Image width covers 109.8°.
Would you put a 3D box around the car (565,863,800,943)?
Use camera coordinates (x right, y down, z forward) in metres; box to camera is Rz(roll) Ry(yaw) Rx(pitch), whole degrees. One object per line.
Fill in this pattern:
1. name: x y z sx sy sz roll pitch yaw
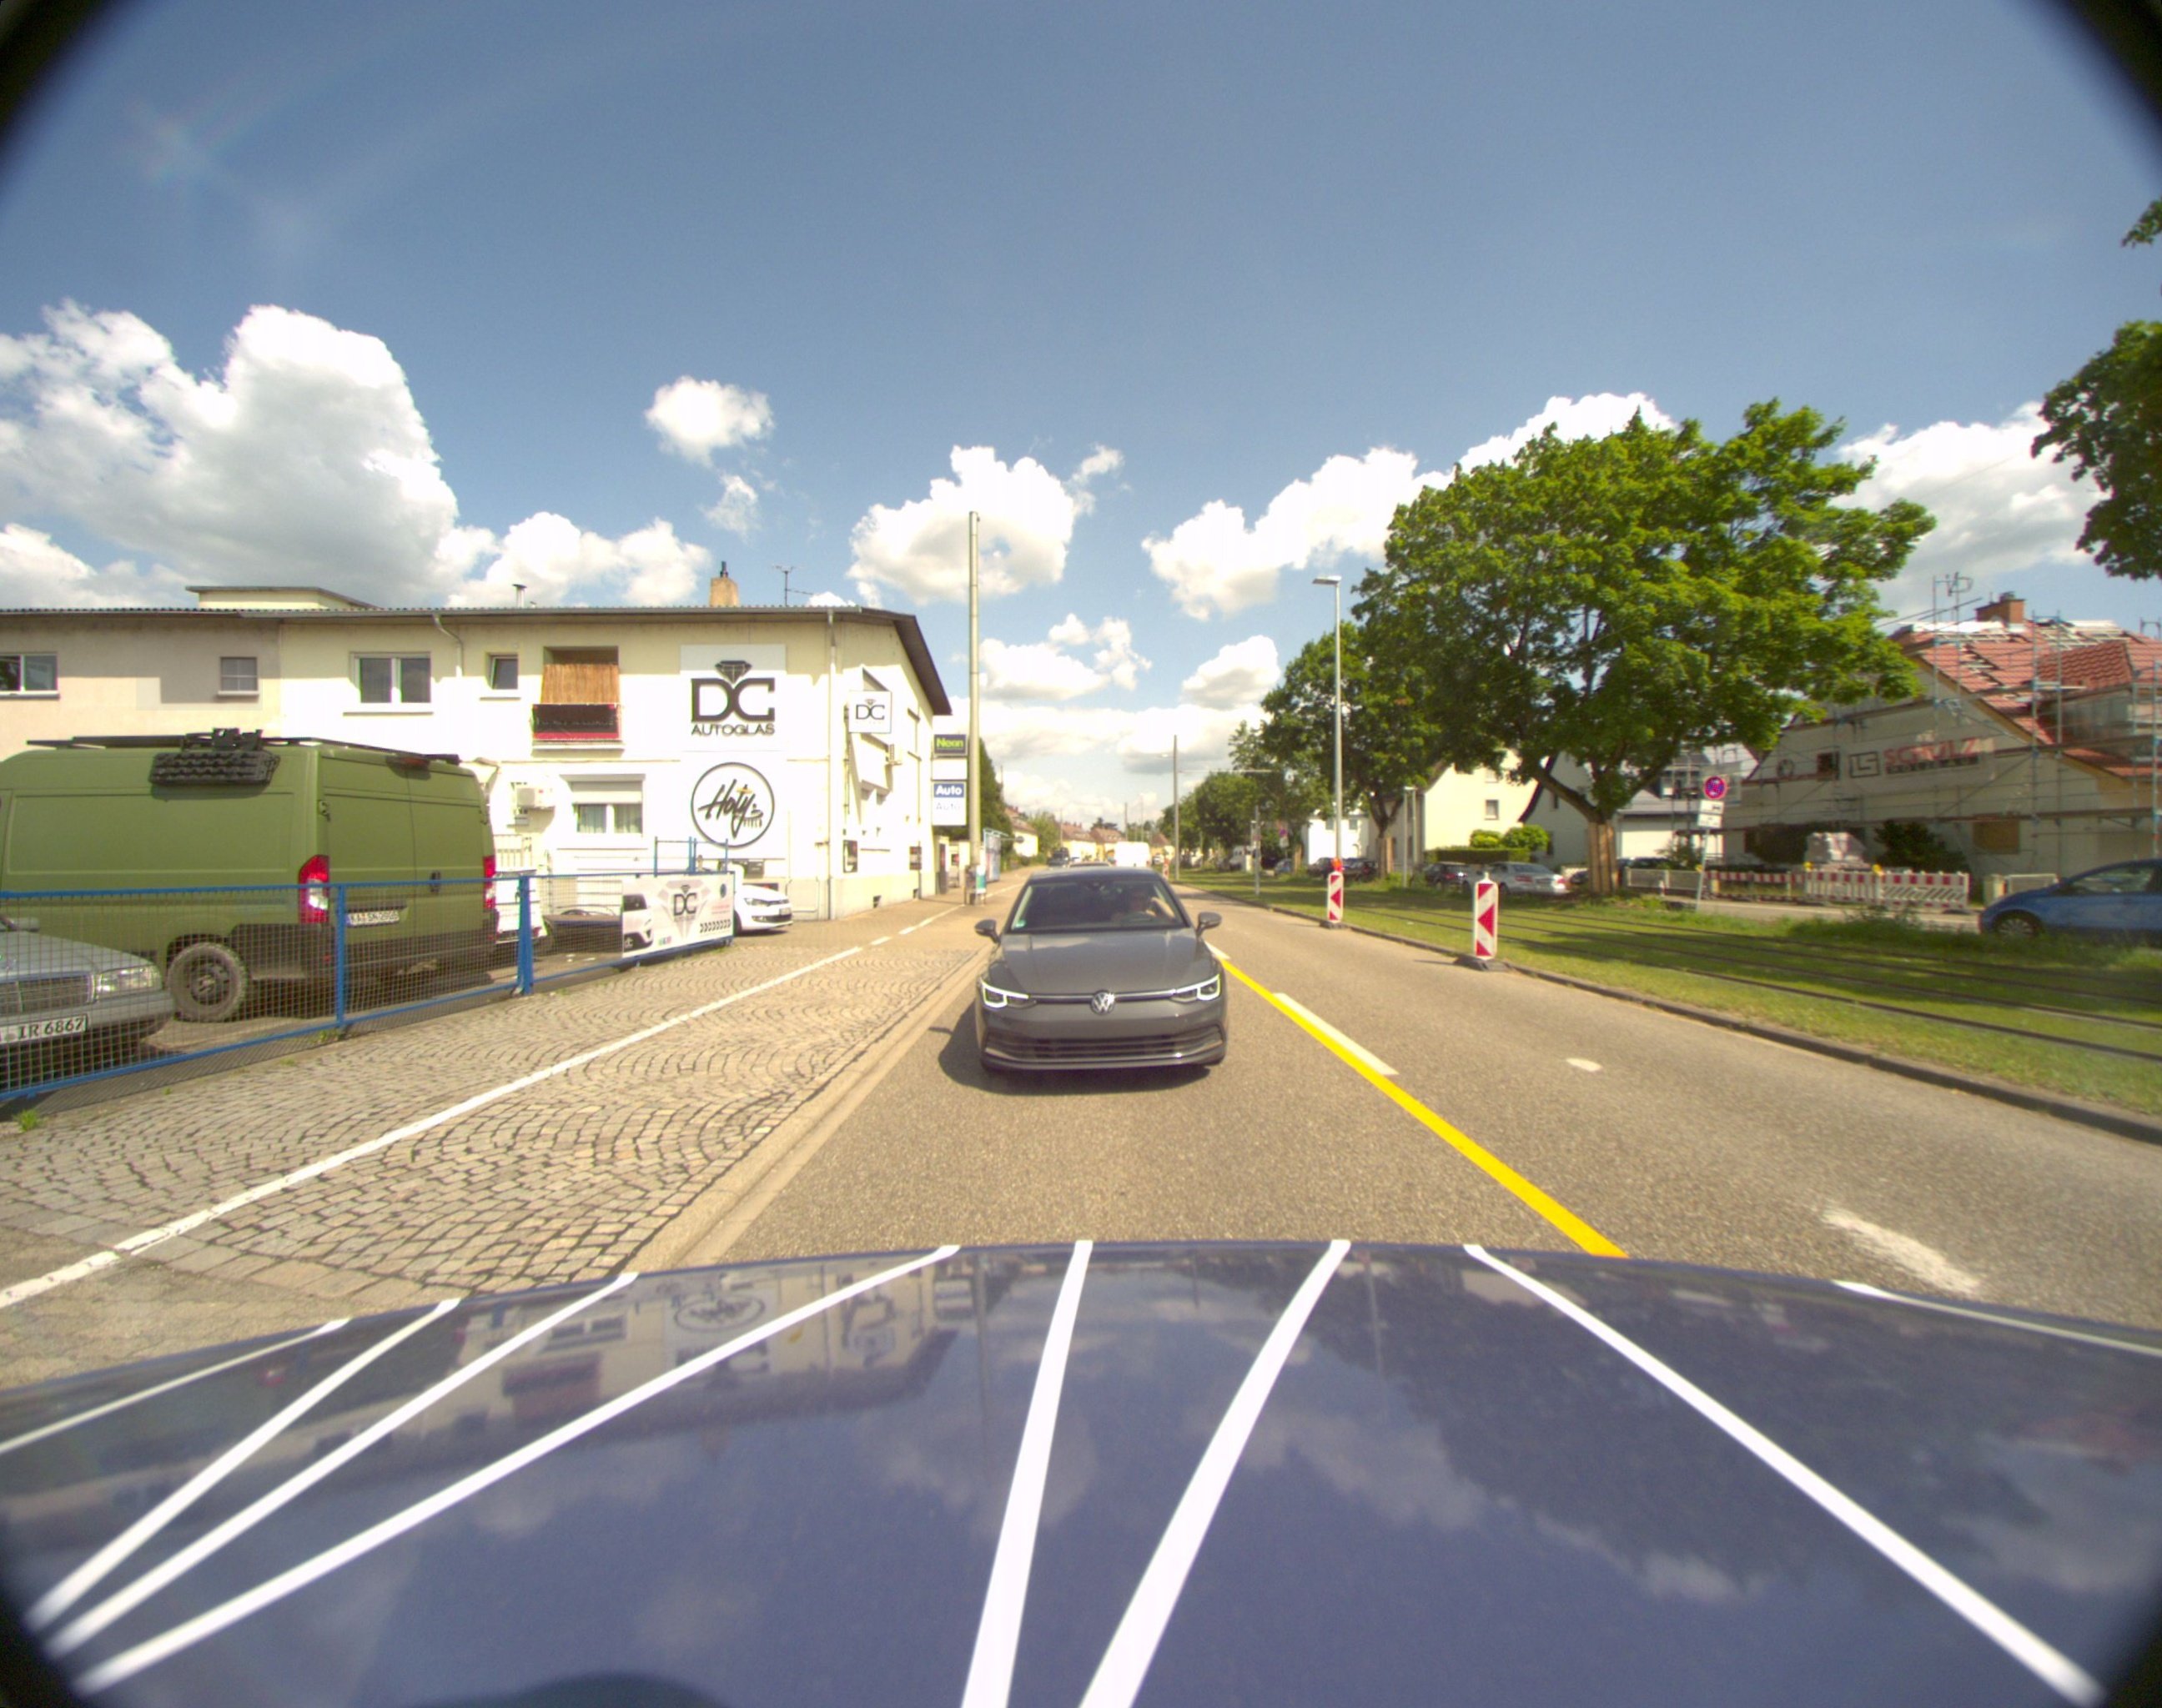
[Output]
1. car: -7.665 0.918 14.823 3.775 1.454 1.555 0 0 2

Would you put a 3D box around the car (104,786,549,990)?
1. car: -9.503 0.405 9.781 4.207 2.392 1.586 0 0 2

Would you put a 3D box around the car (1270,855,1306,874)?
1. car: 16.638 0.880 61.288 1.702 1.477 4.407 -1 -1 1

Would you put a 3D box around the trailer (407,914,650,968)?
1. trailer: -8.371 1.309 11.665 2.733 0.662 1.329 0 0 -1

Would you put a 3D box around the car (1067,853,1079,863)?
1. car: -1.322 0.678 123.045 1.701 1.574 4.001 0 0 3

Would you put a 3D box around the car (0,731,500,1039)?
1. car: -8.729 0.273 7.615 4.207 2.627 2.113 0 0 2

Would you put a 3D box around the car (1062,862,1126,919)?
1. car: 0.381 1.000 22.268 1.702 1.477 4.000 0 0 1

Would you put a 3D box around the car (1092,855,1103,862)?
1. car: 3.839 0.920 173.603 1.700 1.574 4.004 0 0 12

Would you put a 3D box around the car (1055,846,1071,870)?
1. car: -1.919 0.454 82.444 1.702 2.510 5.144 0 0 0

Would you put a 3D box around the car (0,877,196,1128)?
1. car: -8.462 0.890 4.779 4.282 1.444 1.713 0 0 8

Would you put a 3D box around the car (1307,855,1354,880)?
1. car: 16.549 0.903 50.667 1.702 1.562 4.407 -1 -1 1

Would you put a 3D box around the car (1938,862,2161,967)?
1. car: 16.199 0.870 11.405 1.702 1.477 4.407 -1 -1 1

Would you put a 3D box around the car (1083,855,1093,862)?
1. car: 1.435 0.913 155.843 1.701 1.574 4.002 0 0 7

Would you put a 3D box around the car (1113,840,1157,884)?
1. car: 3.398 0.456 46.773 2.089 2.449 5.846 2 0 10

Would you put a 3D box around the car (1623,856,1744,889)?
1. car: 28.901 0.895 36.517 4.402 1.477 1.704 -1 -1 1

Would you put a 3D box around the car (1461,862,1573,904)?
1. car: 16.465 1.069 28.981 1.788 1.477 4.523 -1 -1 2

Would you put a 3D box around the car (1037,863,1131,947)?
1. car: 0.075 0.943 15.799 1.702 1.477 4.000 0 0 1

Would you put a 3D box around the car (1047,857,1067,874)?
1. car: -2.191 1.051 70.759 1.702 1.574 4.000 0 0 1

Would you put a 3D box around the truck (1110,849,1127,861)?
1. truck: 9.903 0.152 201.057 2.710 3.119 8.124 0 0 15

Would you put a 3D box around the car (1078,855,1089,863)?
1. car: 0.477 0.910 146.712 1.701 1.574 4.002 0 0 6

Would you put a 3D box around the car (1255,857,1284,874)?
1. car: 17.640 1.083 71.333 1.702 1.477 4.407 -1 -1 1

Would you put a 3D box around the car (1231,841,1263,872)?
1. car: 16.811 0.279 77.278 2.136 3.019 5.084 -1 -1 1

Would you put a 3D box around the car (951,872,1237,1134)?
1. car: 0.107 0.938 6.531 1.702 1.477 4.000 0 0 1

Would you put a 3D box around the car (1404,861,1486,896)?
1. car: 16.621 1.125 34.943 1.702 1.477 4.407 -1 -1 1

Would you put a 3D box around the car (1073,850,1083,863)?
1. car: -0.495 0.427 136.408 1.701 2.233 4.947 0 0 2

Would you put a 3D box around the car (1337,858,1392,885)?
1. car: 16.765 1.040 45.161 1.702 1.477 4.407 -1 -1 1
